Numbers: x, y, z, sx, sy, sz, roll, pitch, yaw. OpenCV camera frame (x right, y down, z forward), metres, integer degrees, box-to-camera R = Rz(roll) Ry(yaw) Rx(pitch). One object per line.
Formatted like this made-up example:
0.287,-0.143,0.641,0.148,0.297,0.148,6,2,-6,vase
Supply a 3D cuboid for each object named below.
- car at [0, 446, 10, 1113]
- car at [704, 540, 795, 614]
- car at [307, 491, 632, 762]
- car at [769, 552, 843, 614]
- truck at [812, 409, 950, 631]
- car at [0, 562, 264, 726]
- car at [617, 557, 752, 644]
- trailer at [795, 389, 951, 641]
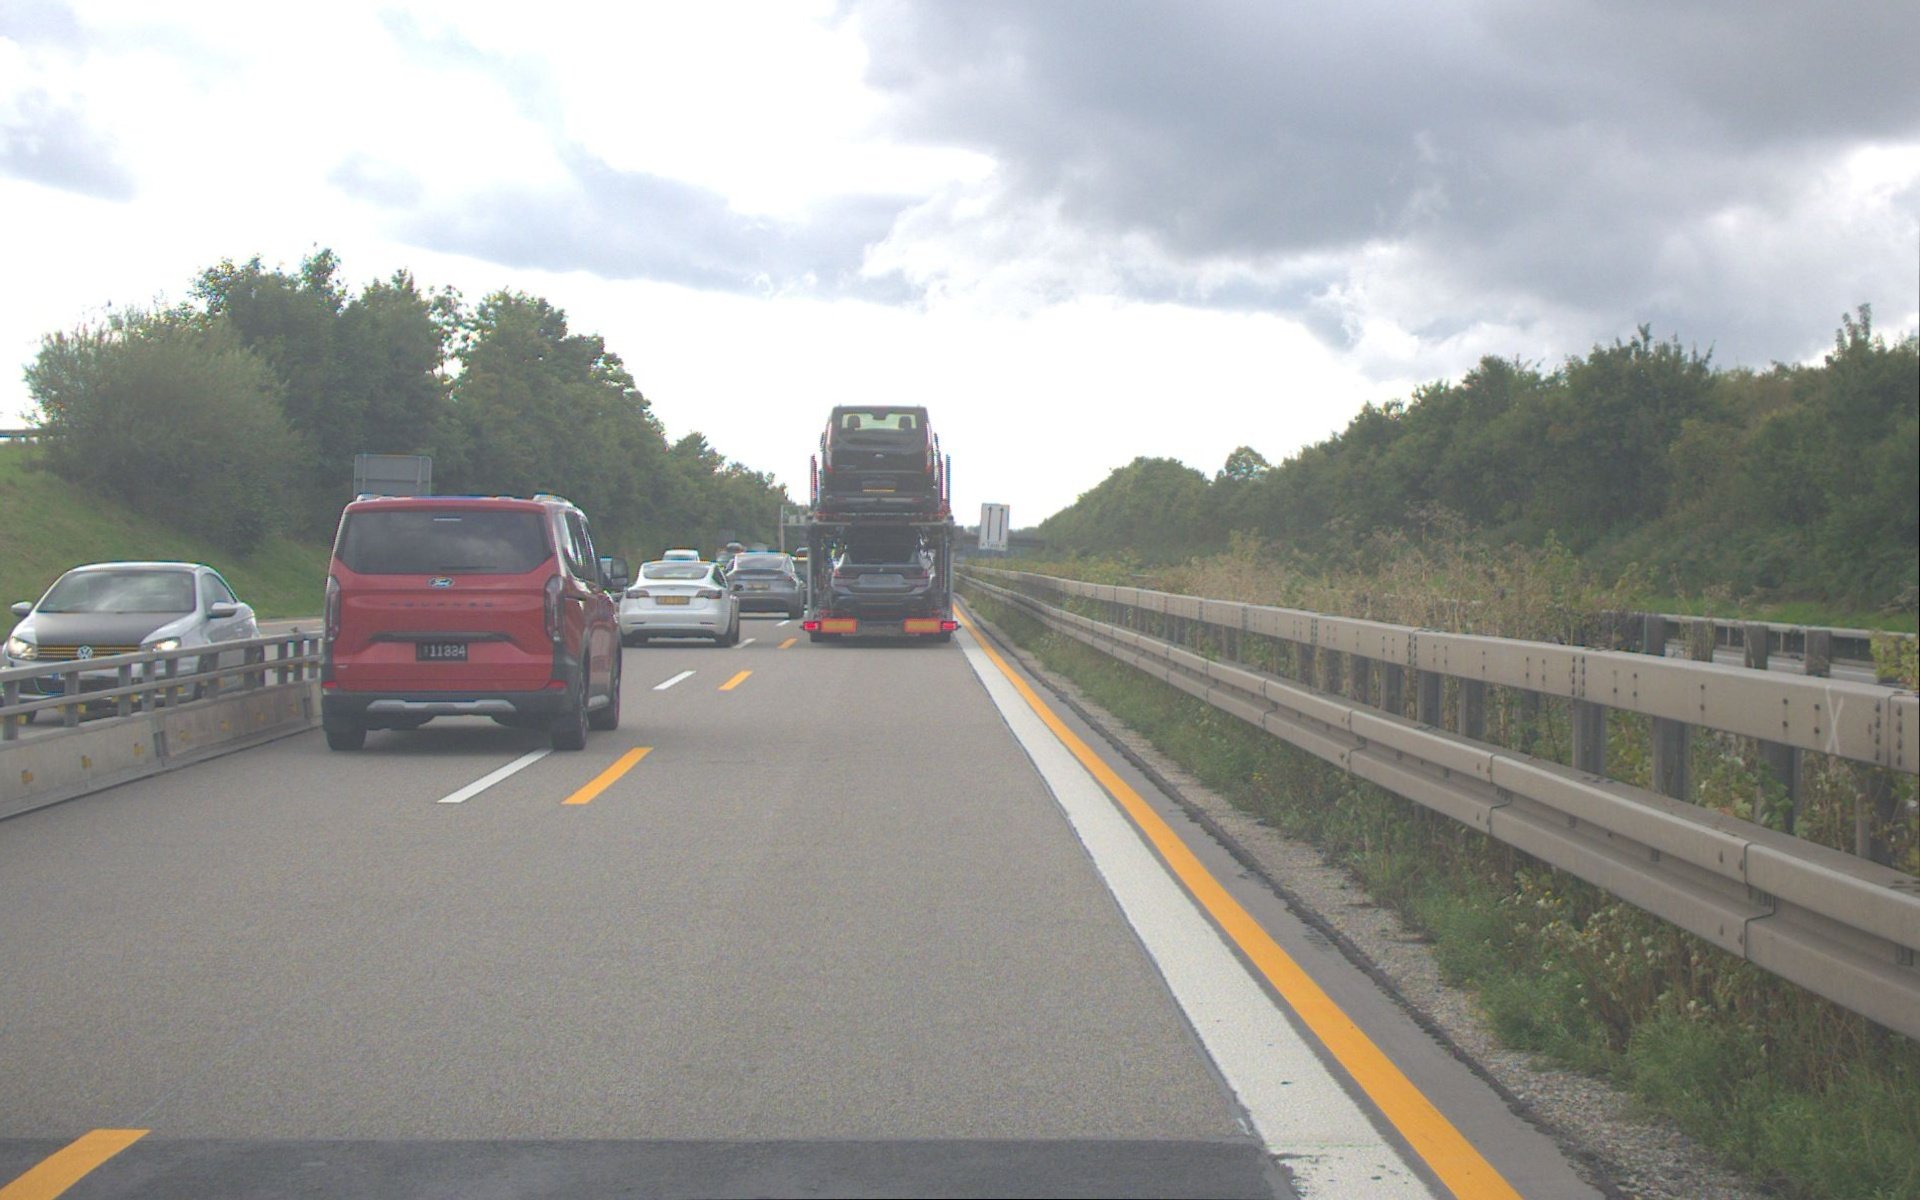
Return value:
-3.611,0.532,6.757,1.993,1.837,5.610,0,1,-1,car
-5.085,-0.573,83.606,2.031,1.751,4.578,0,1,-1,car
-3.854,0.165,27.780,2.031,2.007,4.578,0,1,-1,car
-4.376,-0.500,98.404,2.031,1.751,4.578,0,1,-2,car
-1.470,-1.504,66.390,2.515,4.091,5.685,0,1,0,truck
-7.583,0.357,31.552,1.757,1.383,4.001,0,1,-3,car
-4.641,-0.018,58.433,2.031,1.426,4.578,0,1,-1,car
-1.443,-1.454,61.565,2.515,4.091,11.113,0,1,0,trailer
